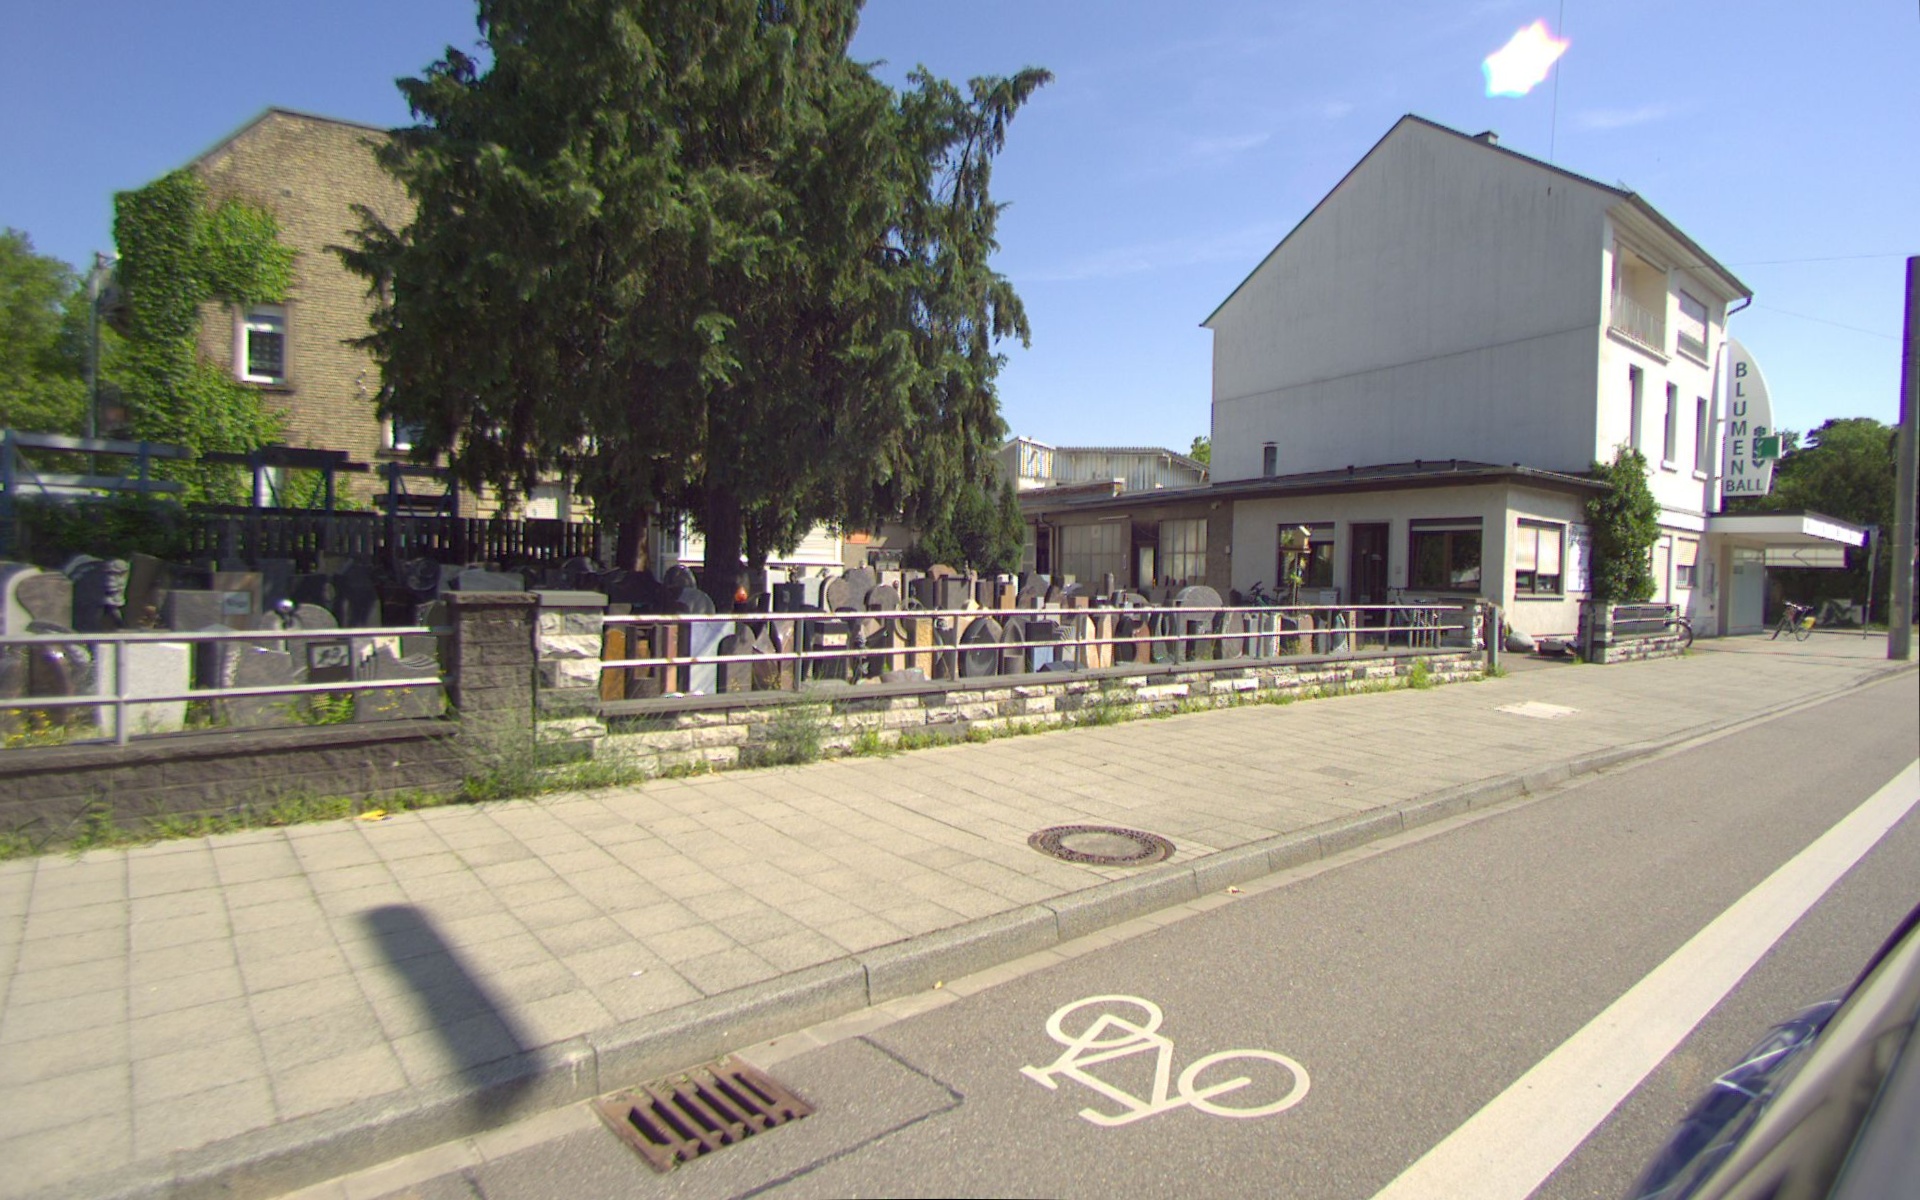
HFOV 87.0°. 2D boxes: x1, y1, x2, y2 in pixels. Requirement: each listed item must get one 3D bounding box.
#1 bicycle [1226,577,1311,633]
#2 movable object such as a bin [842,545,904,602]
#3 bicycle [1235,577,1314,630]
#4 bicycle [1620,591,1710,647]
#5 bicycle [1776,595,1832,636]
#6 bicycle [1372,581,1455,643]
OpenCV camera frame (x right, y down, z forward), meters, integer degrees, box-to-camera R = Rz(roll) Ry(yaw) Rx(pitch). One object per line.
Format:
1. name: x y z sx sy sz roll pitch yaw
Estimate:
1. bicycle: 6.713 0.092 22.098 0.502 1.124 1.798 1 2 -36
2. movable object such as a bin: -3.355 -1.039 39.194 1.461 2.103 2.274 2 2 23
3. bicycle: 7.182 0.065 23.157 0.503 1.124 1.690 1 2 -38
4. bicycle: 15.737 0.407 22.622 0.390 1.069 1.531 0 5 -38
5. bicycle: 24.465 0.448 29.335 1.655 1.148 0.513 1 1 -23
6. bicycle: 9.017 0.220 20.200 0.503 1.124 1.695 2 2 -15
